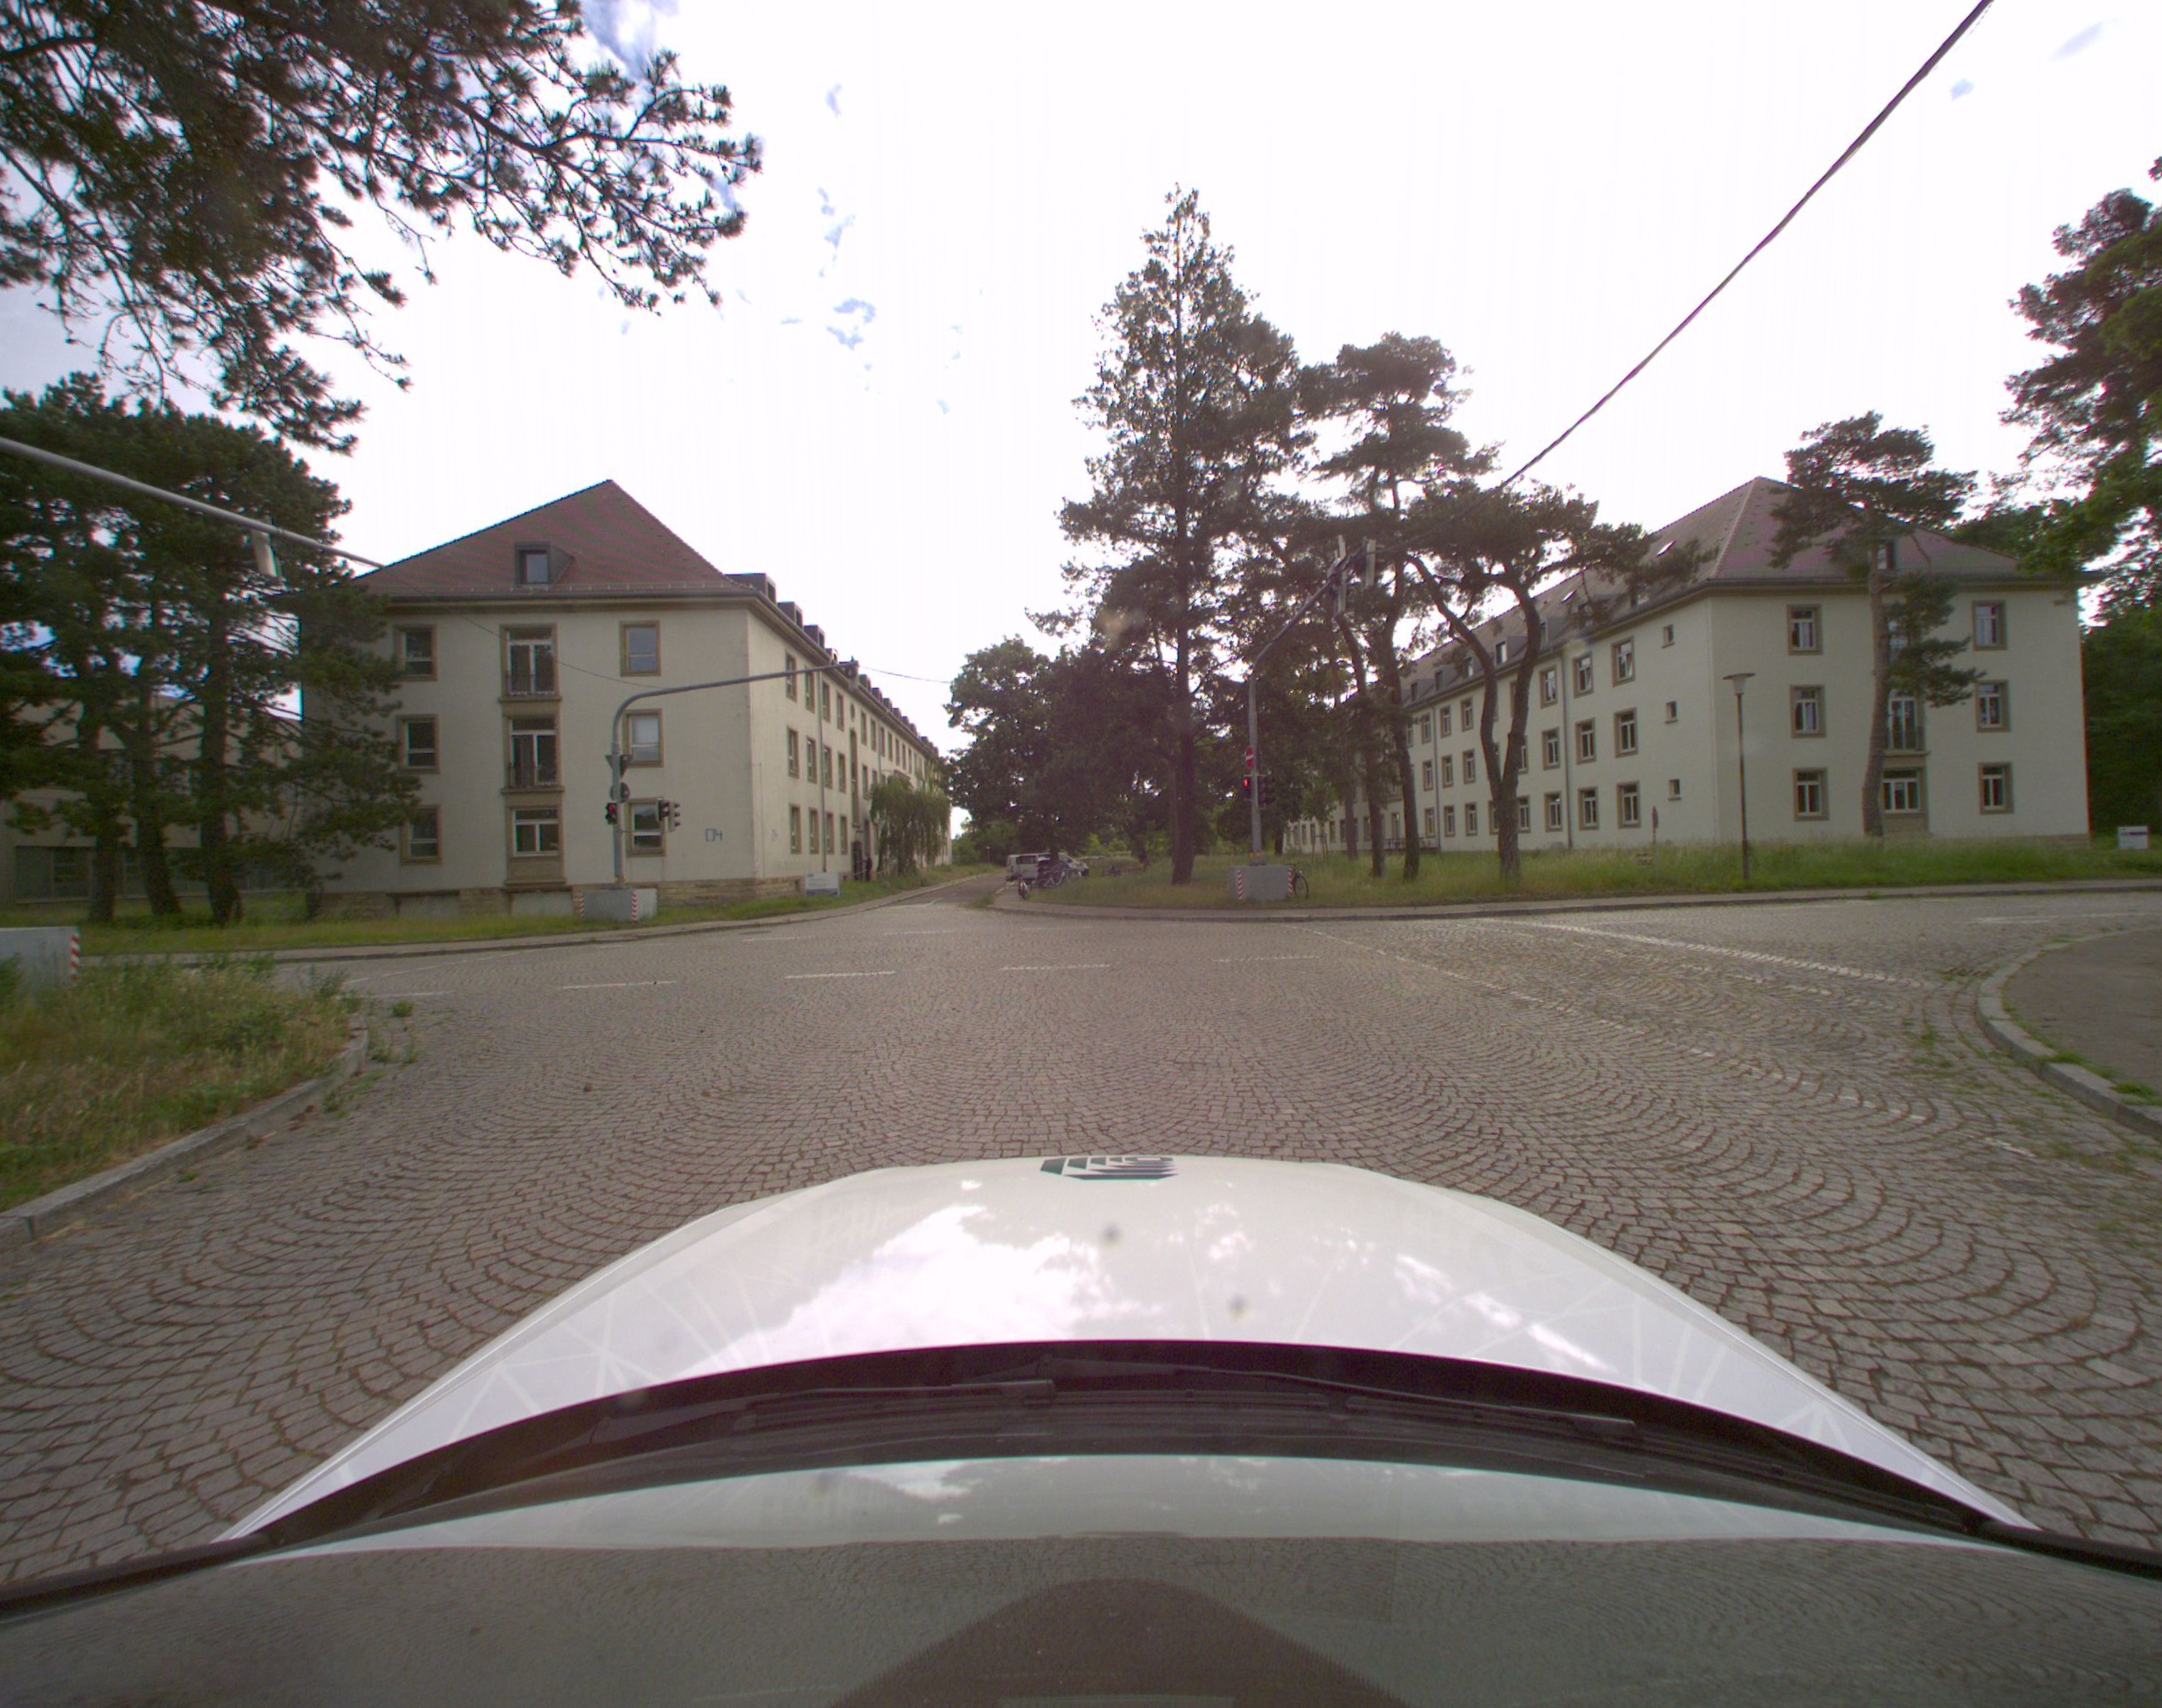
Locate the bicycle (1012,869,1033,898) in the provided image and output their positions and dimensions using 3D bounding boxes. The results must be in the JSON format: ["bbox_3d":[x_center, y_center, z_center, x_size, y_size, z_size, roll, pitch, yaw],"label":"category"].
[{"bbox_3d":[-2.318,1.158,32.356,0.620,1.082,1.678,-1,-1,2],"label":"bicycle"}]

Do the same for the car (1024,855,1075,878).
[{"bbox_3d":[-2.578,1.023,65.769,4.024,1.718,1.678,-2,-1,-4],"label":"car"}]

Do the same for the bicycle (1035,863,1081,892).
[{"bbox_3d":[-1.028,1.033,36.263,1.979,1.248,0.623,-1,-1,-5],"label":"bicycle"}]

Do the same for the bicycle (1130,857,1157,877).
[{"bbox_3d":[3.748,0.787,48.904,1.544,1.124,0.401,-2,-1,-1],"label":"bicycle"}]

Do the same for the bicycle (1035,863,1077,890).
[{"bbox_3d":[-1.191,1.066,39.005,1.979,1.248,0.623,-1,-1,-5],"label":"bicycle"}]

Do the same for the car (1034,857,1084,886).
[{"bbox_3d":[-1.326,1.012,48.464,2.841,1.558,1.470,-3,1,-4],"label":"car"}]

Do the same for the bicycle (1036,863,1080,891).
[{"bbox_3d":[-1.056,1.040,36.895,1.979,1.248,0.623,-1,-1,-5],"label":"bicycle"}]

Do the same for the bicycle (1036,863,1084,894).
[{"bbox_3d":[-0.887,1.003,33.855,1.979,1.248,0.623,-1,-1,-5],"label":"bicycle"}]

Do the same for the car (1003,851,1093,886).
[{"bbox_3d":[-2.114,0.886,51.901,5.318,1.916,2.137,-3,0,-18],"label":"car"}]

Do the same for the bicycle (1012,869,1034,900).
[{"bbox_3d":[-2.149,1.118,30.410,0.620,1.113,1.989,-1,-1,0],"label":"bicycle"}]

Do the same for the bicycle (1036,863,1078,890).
[{"bbox_3d":[-1.141,1.060,38.495,1.979,1.248,0.623,-1,-1,-5],"label":"bicycle"}]

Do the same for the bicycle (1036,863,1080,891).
[{"bbox_3d":[-1.068,1.046,37.420,1.979,1.248,0.623,-1,-1,-5],"label":"bicycle"}]

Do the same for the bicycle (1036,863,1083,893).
[{"bbox_3d":[-0.920,1.011,34.483,1.979,1.248,0.623,-1,-1,-5],"label":"bicycle"}]

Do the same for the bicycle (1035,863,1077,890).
[{"bbox_3d":[-1.233,1.073,39.497,1.979,1.248,0.623,-1,-1,-5],"label":"bicycle"}]

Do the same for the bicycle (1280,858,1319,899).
[{"bbox_3d":[5.818,0.637,21.788,0.578,0.970,1.678,-4,1,2],"label":"bicycle"}]

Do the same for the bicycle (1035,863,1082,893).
[{"bbox_3d":[-0.983,1.022,35.406,1.979,1.248,0.623,-1,-1,-5],"label":"bicycle"}]

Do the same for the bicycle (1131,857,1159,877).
[{"bbox_3d":[3.736,0.776,47.671,1.544,1.124,0.401,-2,-1,-1],"label":"bicycle"}]

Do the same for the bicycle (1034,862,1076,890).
[{"bbox_3d":[-1.268,1.081,40.155,1.979,1.248,0.623,-4,-1,-5],"label":"bicycle"}]

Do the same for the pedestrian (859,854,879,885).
[{"bbox_3d":[-12.792,0.925,49.146,0.834,1.781,0.942,-2,0,3],"label":"pedestrian"}]

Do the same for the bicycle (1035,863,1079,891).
[{"bbox_3d":[-1.114,1.052,37.845,1.979,1.248,0.623,-1,-1,-5],"label":"bicycle"}]
